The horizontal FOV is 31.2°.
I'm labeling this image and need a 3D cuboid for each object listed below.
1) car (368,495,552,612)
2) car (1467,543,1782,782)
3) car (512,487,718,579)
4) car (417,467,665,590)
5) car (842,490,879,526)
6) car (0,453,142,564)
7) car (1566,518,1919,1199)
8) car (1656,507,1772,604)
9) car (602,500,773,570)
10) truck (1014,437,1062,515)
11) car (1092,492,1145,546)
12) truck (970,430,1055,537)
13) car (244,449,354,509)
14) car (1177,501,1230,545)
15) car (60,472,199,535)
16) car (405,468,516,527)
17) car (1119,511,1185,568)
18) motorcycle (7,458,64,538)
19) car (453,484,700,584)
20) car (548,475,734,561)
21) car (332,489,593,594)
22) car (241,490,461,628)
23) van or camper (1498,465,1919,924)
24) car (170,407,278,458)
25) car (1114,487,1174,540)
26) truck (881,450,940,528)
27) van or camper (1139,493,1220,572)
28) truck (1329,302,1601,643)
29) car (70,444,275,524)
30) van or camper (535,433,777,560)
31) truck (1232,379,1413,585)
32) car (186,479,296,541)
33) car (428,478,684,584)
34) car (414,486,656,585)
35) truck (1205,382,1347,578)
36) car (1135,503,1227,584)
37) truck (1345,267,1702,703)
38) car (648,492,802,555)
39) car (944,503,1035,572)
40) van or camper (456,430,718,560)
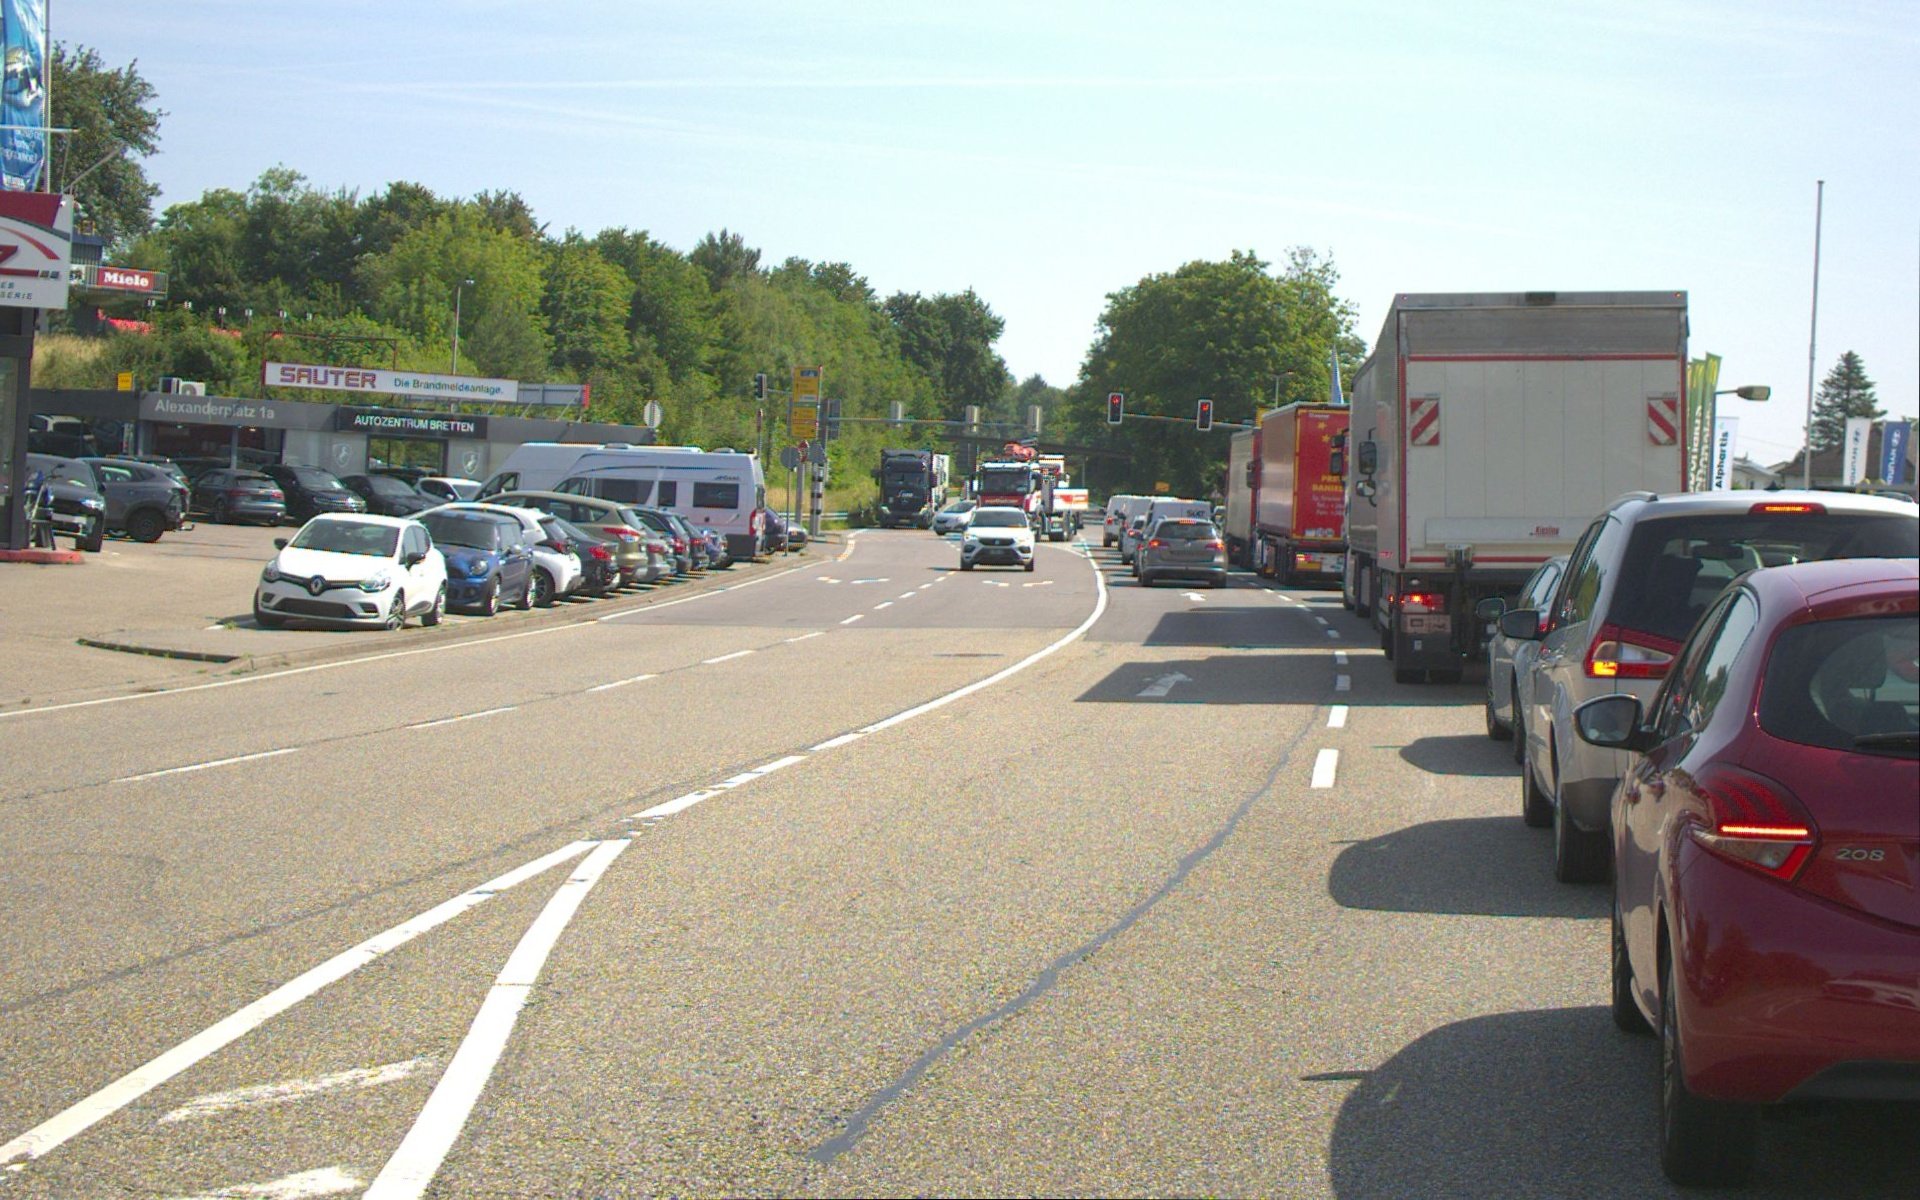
[{"bbox_3d":[-7.392,-0.714,51.153,1.779,1.489,3.781,6,2,4],"label":"car"},{"bbox_3d":[4.519,0.358,23.898,1.735,1.424,4.224,3,1,6],"label":"car"},{"bbox_3d":[-6.948,-1.370,69.573,3.844,1.479,1.802,6,2,1],"label":"car"},{"bbox_3d":[-7.186,-1.237,59.216,3.886,1.710,1.807,6,2,1],"label":"car"},{"bbox_3d":[-5.838,-5.398,201.419,1.993,2.007,4.001,2,1,-2],"label":"car"},{"bbox_3d":[-15.738,-1.599,60.486,1.821,1.669,4.129,7,-1,-22],"label":"car"},{"bbox_3d":[2.575,0.581,9.112,1.801,1.566,3.712,1,1,9],"label":"car"},{"bbox_3d":[14.560,-0.861,66.571,1.994,1.744,3.998,3,1,11],"label":"car"},{"bbox_3d":[-6.133,-1.481,77.573,3.594,1.475,1.812,1,2,4],"label":"car"},{"bbox_3d":[4.470,-6.992,194.789,2.553,4.292,7.596,1,2,2],"label":"truck"},{"bbox_3d":[5.913,-3.002,128.293,1.727,1.902,3.312,3,1,5],"label":"car"},{"bbox_3d":[2.216,-4.716,140.038,2.956,4.194,10.646,0,2,4],"label":"truck"},{"bbox_3d":[-18.275,-3.359,94.886,1.763,1.582,3.830,1,2,-31],"label":"car"},{"bbox_3d":[8.952,-2.831,126.689,1.727,1.514,3.312,3,1,2],"label":"car"},{"bbox_3d":[-22.329,-2.587,92.340,3.826,1.582,1.765,3,2,43],"label":"car"},{"bbox_3d":[-14.185,-2.929,97.489,1.763,1.582,3.830,1,2,-31],"label":"car"},{"bbox_3d":[5.380,-1.695,96.699,1.727,1.514,3.312,3,1,2],"label":"car"},{"bbox_3d":[-15.097,-1.670,56.110,0.769,1.257,2.056,1,2,-18],"label":"motorcycle"},{"bbox_3d":[-7.404,-1.283,66.656,4.459,1.479,1.772,6,2,1],"label":"car"},{"bbox_3d":[-6.858,-1.773,74.193,3.708,1.479,1.708,6,2,1],"label":"car"},{"bbox_3d":[-7.829,-0.931,54.327,3.796,1.520,1.847,2,2,1],"label":"car"},{"bbox_3d":[-7.739,-0.549,44.027,1.779,1.612,4.000,2,2,4],"label":"car"},{"bbox_3d":[3.567,0.329,16.385,1.747,1.781,5.132,3,1,7],"label":"van or camper"},{"bbox_3d":[-22.627,-5.142,105.628,1.731,1.445,3.748,2,1,-38],"label":"car"},{"bbox_3d":[5.674,-2.644,105.888,1.727,1.514,3.312,3,1,4],"label":"car"},{"bbox_3d":[-2.509,-5.544,171.262,2.812,3.773,6.991,0,2,-2],"label":"truck"},{"bbox_3d":[5.594,-1.752,87.817,1.852,1.899,3.785,2,2,2],"label":"van or camper"},{"bbox_3d":[7.317,-1.838,52.104,2.891,4.251,16.707,2,2,5],"label":"truck"},{"bbox_3d":[-16.381,-2.408,71.495,3.936,1.527,1.770,1,2,-20],"label":"car"},{"bbox_3d":[-7.057,-2.419,80.026,5.246,2.722,2.210,2,2,4],"label":"van or camper"},{"bbox_3d":[8.326,-2.750,81.101,2.957,4.255,16.584,2,2,2],"label":"truck"},{"bbox_3d":[-19.470,-2.441,93.000,1.763,1.582,3.830,1,2,-31],"label":"car"},{"bbox_3d":[-7.257,-1.252,62.022,4.277,1.479,1.836,6,2,1],"label":"car"},{"bbox_3d":[-6.970,-1.069,56.613,3.707,1.520,1.792,1,2,1],"label":"car"},{"bbox_3d":[9.171,-3.510,101.645,3.063,5.202,17.007,2,2,2],"label":"truck"},{"bbox_3d":[4.687,-1.207,72.452,1.790,1.632,3.503,2,1,5],"label":"car"},{"bbox_3d":[5.636,-1.175,36.203,2.880,3.798,11.140,2,2,6],"label":"truck"},{"bbox_3d":[-6.132,-1.999,89.930,3.817,1.534,1.843,2,2,2],"label":"car"},{"bbox_3d":[0.764,-1.570,85.947,1.936,1.668,3.999,0,1,5],"label":"car"},{"bbox_3d":[-8.926,-2.532,82.568,5.892,2.863,2.290,2,2,3],"label":"van or camper"}]
